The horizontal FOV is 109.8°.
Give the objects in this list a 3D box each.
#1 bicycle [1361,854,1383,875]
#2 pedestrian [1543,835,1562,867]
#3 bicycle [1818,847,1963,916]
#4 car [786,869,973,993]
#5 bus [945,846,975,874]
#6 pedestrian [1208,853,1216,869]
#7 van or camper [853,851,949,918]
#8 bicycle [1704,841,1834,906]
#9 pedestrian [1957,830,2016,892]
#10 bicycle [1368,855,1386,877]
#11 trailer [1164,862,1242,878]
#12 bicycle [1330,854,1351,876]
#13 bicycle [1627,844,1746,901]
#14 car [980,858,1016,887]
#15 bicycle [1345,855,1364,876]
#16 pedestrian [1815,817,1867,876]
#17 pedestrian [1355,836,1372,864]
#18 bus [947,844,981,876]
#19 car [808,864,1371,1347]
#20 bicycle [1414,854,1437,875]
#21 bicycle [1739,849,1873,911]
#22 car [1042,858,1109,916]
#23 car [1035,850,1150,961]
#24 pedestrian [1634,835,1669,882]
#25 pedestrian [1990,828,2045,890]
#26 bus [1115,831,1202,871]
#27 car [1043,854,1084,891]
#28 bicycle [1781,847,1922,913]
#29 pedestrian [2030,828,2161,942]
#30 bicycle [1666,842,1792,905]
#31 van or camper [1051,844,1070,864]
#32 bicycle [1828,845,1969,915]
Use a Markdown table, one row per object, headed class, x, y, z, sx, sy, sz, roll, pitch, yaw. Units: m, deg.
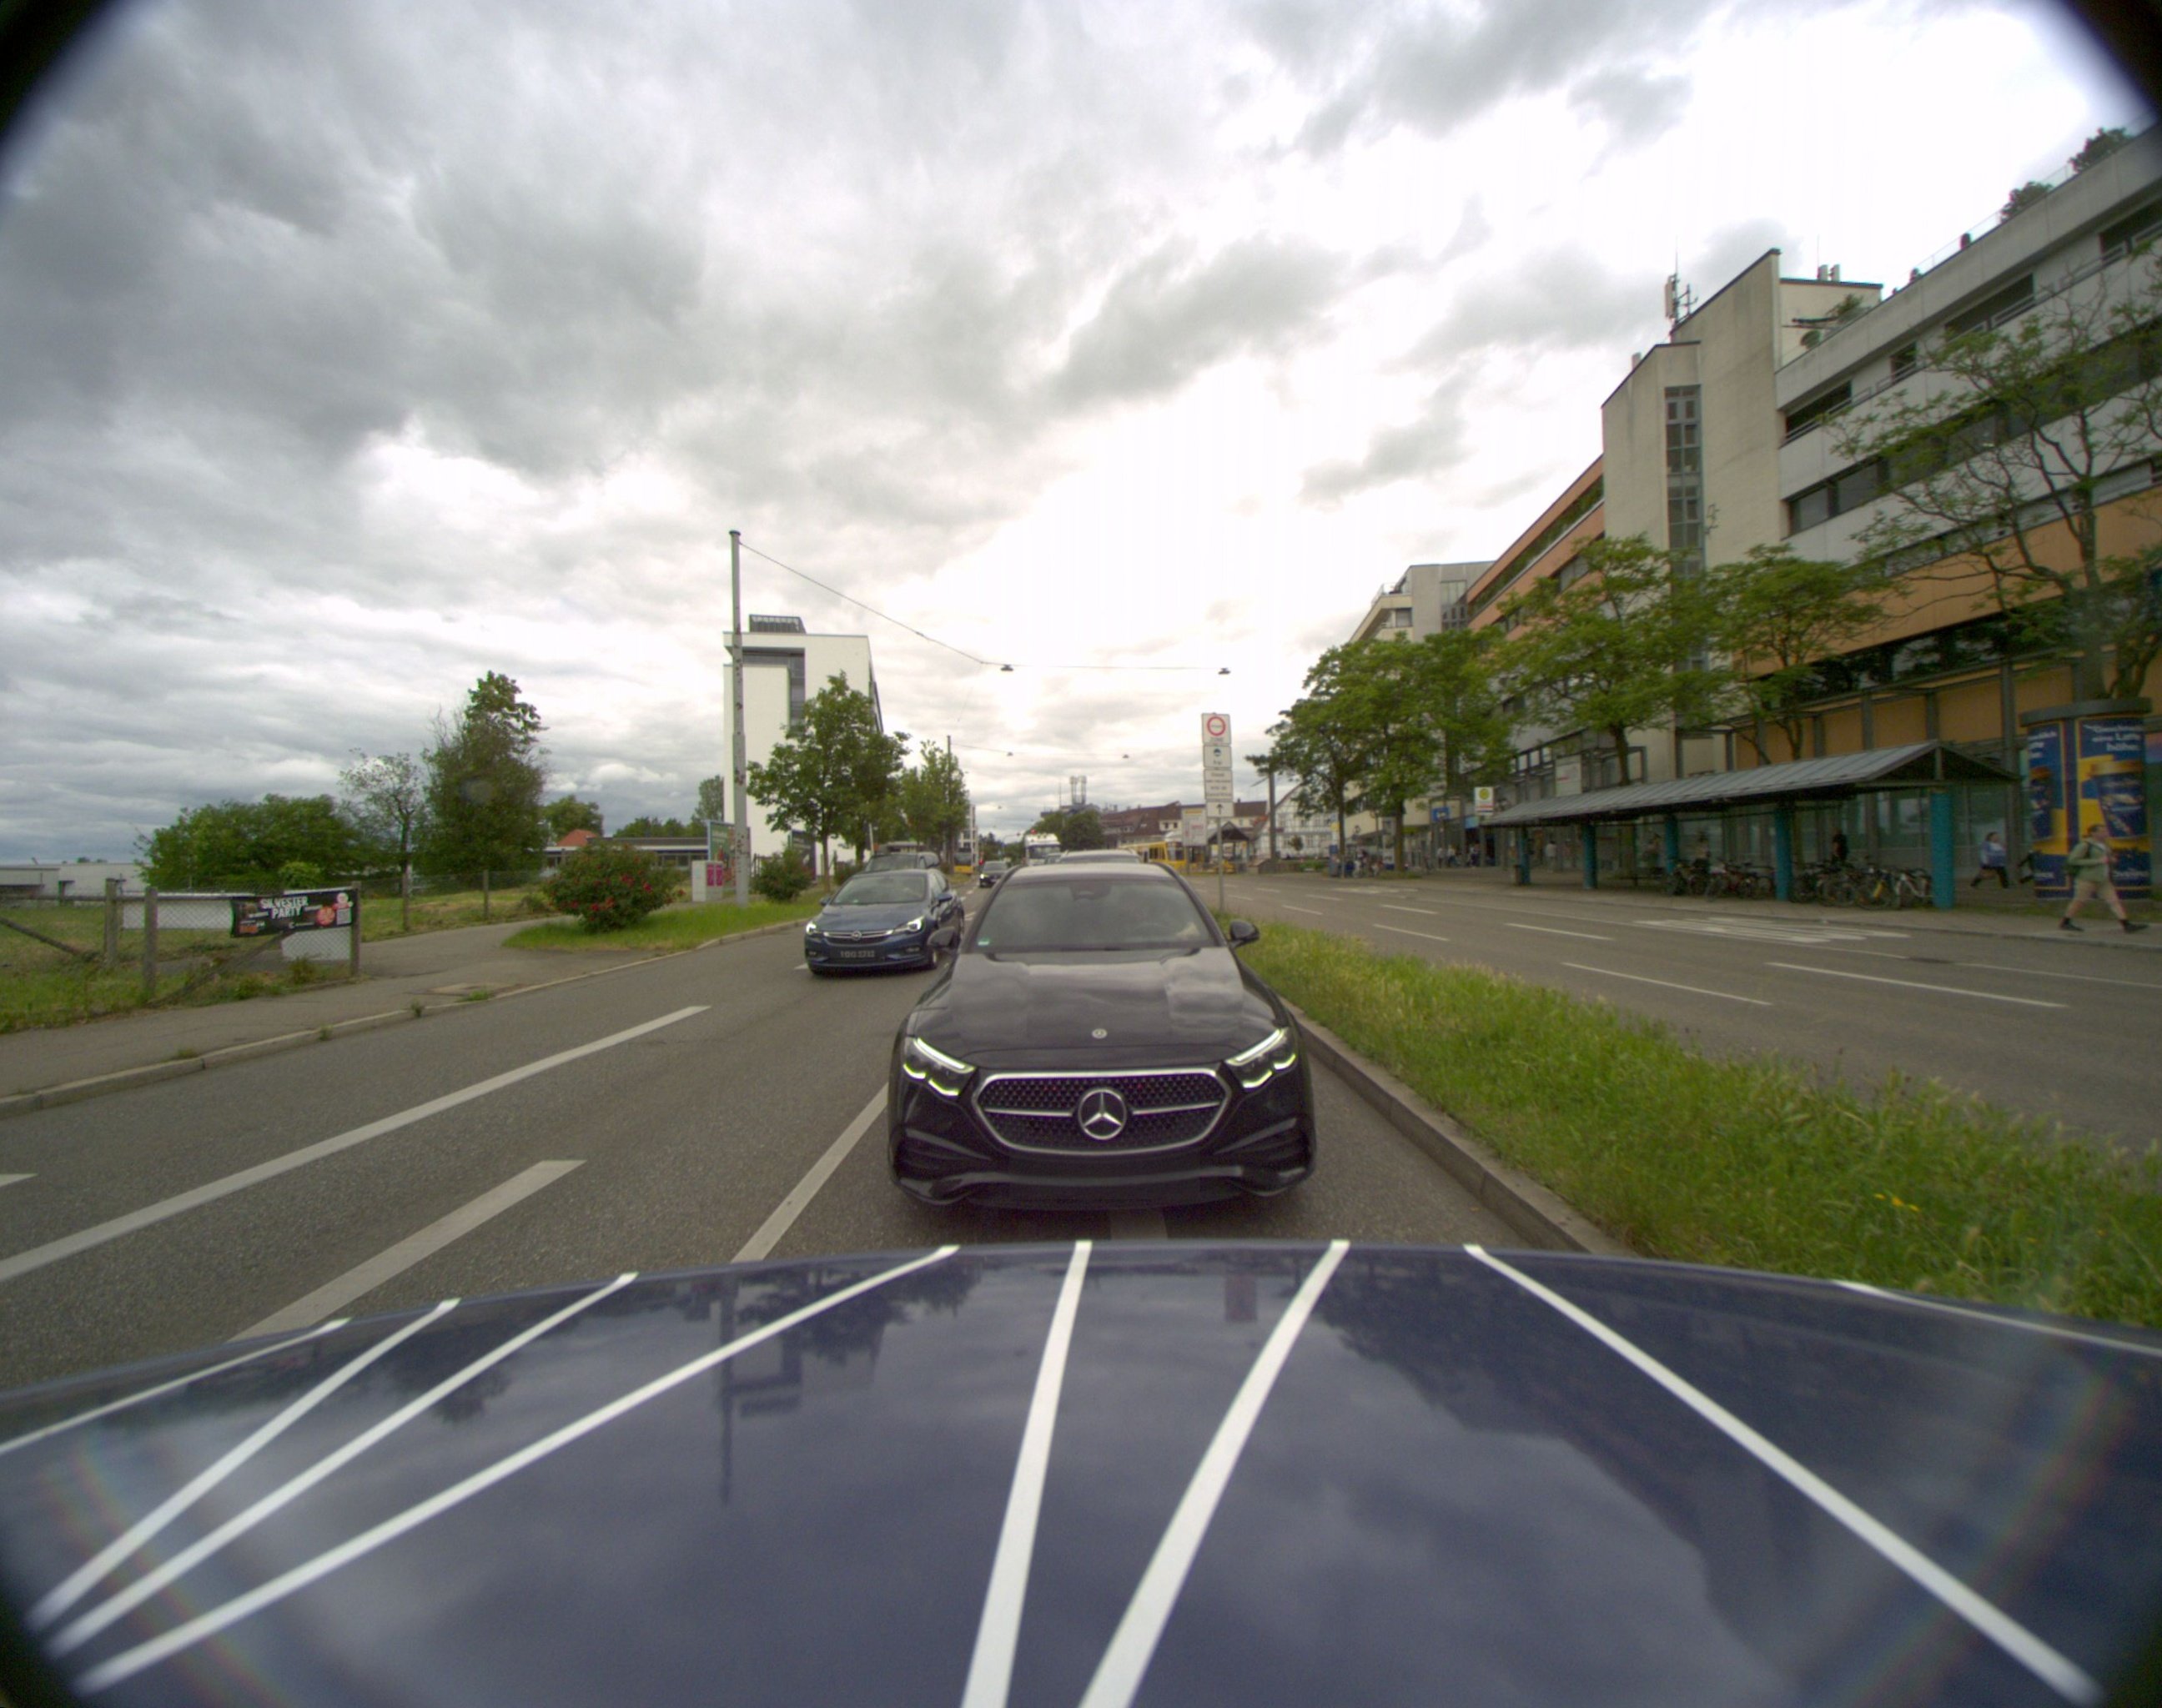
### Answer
| class | x | y | z | sx | sy | sz | roll | pitch | yaw |
| --- | --- | --- | --- | --- | --- | --- | --- | --- | --- |
| bicycle | 16.452 | 0.593 | 42.958 | 0.604 | 1.154 | 1.966 | -1 | -1 | 4 |
| pedestrian | 23.910 | -0.136 | 38.519 | 0.633 | 1.591 | 0.623 | -3 | 1 | 20 |
| bicycle | 18.422 | 0.607 | 17.301 | 2.908 | 1.498 | 0.700 | -1 | 0 | -8 |
| car | -2.931 | 1.042 | 12.046 | 1.735 | 1.474 | 4.369 | -2 | 0 | 0 |
| bus | -14.535 | 0.752 | 90.486 | 3.047 | 3.216 | 9.329 | -1 | -1 | -12 |
| pedestrian | 13.303 | 0.718 | 77.268 | 0.601 | 1.564 | 0.620 | -1 | 0 | -10 |
| van or camper | -5.540 | 0.881 | 24.081 | 1.809 | 1.867 | 4.849 | -2 | 0 | 0 |
| bicycle | 18.245 | 0.501 | 20.164 | 2.908 | 1.498 | 0.811 | -4 | 0 | -7 |
| pedestrian | 24.002 | 0.180 | 20.151 | 0.668 | 1.574 | 0.706 | -3 | 1 | -6 |
| bicycle | 16.170 | 0.660 | 41.518 | 0.603 | 1.154 | 1.693 | -1 | -1 | 31 |
| trailer | 10.806 | 1.430 | 68.927 | 2.851 | 1.325 | 12.115 | -1 | -1 | -12 |
| bicycle | 14.800 | 0.630 | 43.306 | 0.603 | 1.154 | 1.969 | -3 | -1 | 33 |
| bicycle | 17.884 | 0.528 | 22.470 | 2.908 | 1.498 | 0.972 | -3 | 0 | -8 |
| car | -4.757 | 1.020 | 43.248 | 1.736 | 1.474 | 4.365 | -2 | 0 | -10 |
| bicycle | 15.342 | 0.618 | 42.609 | 0.603 | 1.154 | 1.969 | -1 | -1 | 32 |
| pedestrian | 26.610 | -0.259 | 26.625 | 0.898 | 2.002 | 0.934 | -1 | 1 | -4 |
| pedestrian | 18.623 | -0.247 | 50.107 | 0.747 | 1.866 | 0.873 | -1 | 0 | -8 |
| bus | -12.614 | 0.642 | 81.295 | 2.993 | 3.222 | 9.856 | -1 | 0 | -12 |
| car | -0.026 | 0.907 | 5.055 | 1.873 | 1.542 | 4.773 | -4 | -1 | -2 |
| bicycle | 19.161 | 0.562 | 42.272 | 0.672 | 1.154 | 2.023 | -1 | -1 | 39 |
| bicycle | 18.314 | 0.641 | 19.214 | 2.908 | 1.498 | 0.805 | -1 | 0 | -8 |
| car | -0.141 | 0.901 | 22.403 | 1.735 | 1.474 | 4.369 | -2 | 0 | 0 |
| car | 0.193 | 0.812 | 14.079 | 1.735 | 1.680 | 4.369 | -2 | 0 | 0 |
| pedestrian | 21.534 | 0.153 | 28.698 | 0.774 | 1.706 | 0.787 | -3 | 1 | 17 |
| pedestrian | 24.794 | 0.137 | 20.122 | 0.634 | 1.591 | 0.622 | -3 | 0 | -5 |
| bus | 8.099 | -0.178 | 84.492 | 3.891 | 3.836 | 19.323 | -1 | -1 | -12 |
| car | -0.737 | 0.796 | 34.568 | 1.735 | 1.544 | 4.369 | -2 | 0 | 0 |
| bicycle | 18.392 | 0.607 | 18.145 | 2.908 | 1.498 | 0.778 | -1 | 0 | -8 |
| pedestrian | 17.249 | 0.496 | 12.894 | 0.705 | 1.812 | 1.213 | -3 | 1 | -3 |
| bicycle | 18.010 | 0.530 | 21.139 | 2.908 | 1.498 | 0.891 | -4 | 1 | -8 |
| van or camper | -2.864 | 0.069 | 104.560 | 2.039 | 2.582 | 6.112 | 1 | -1 | -7 |
| bicycle | 18.452 | 0.580 | 17.149 | 2.908 | 1.498 | 0.598 | -1 | 0 | -8 |
